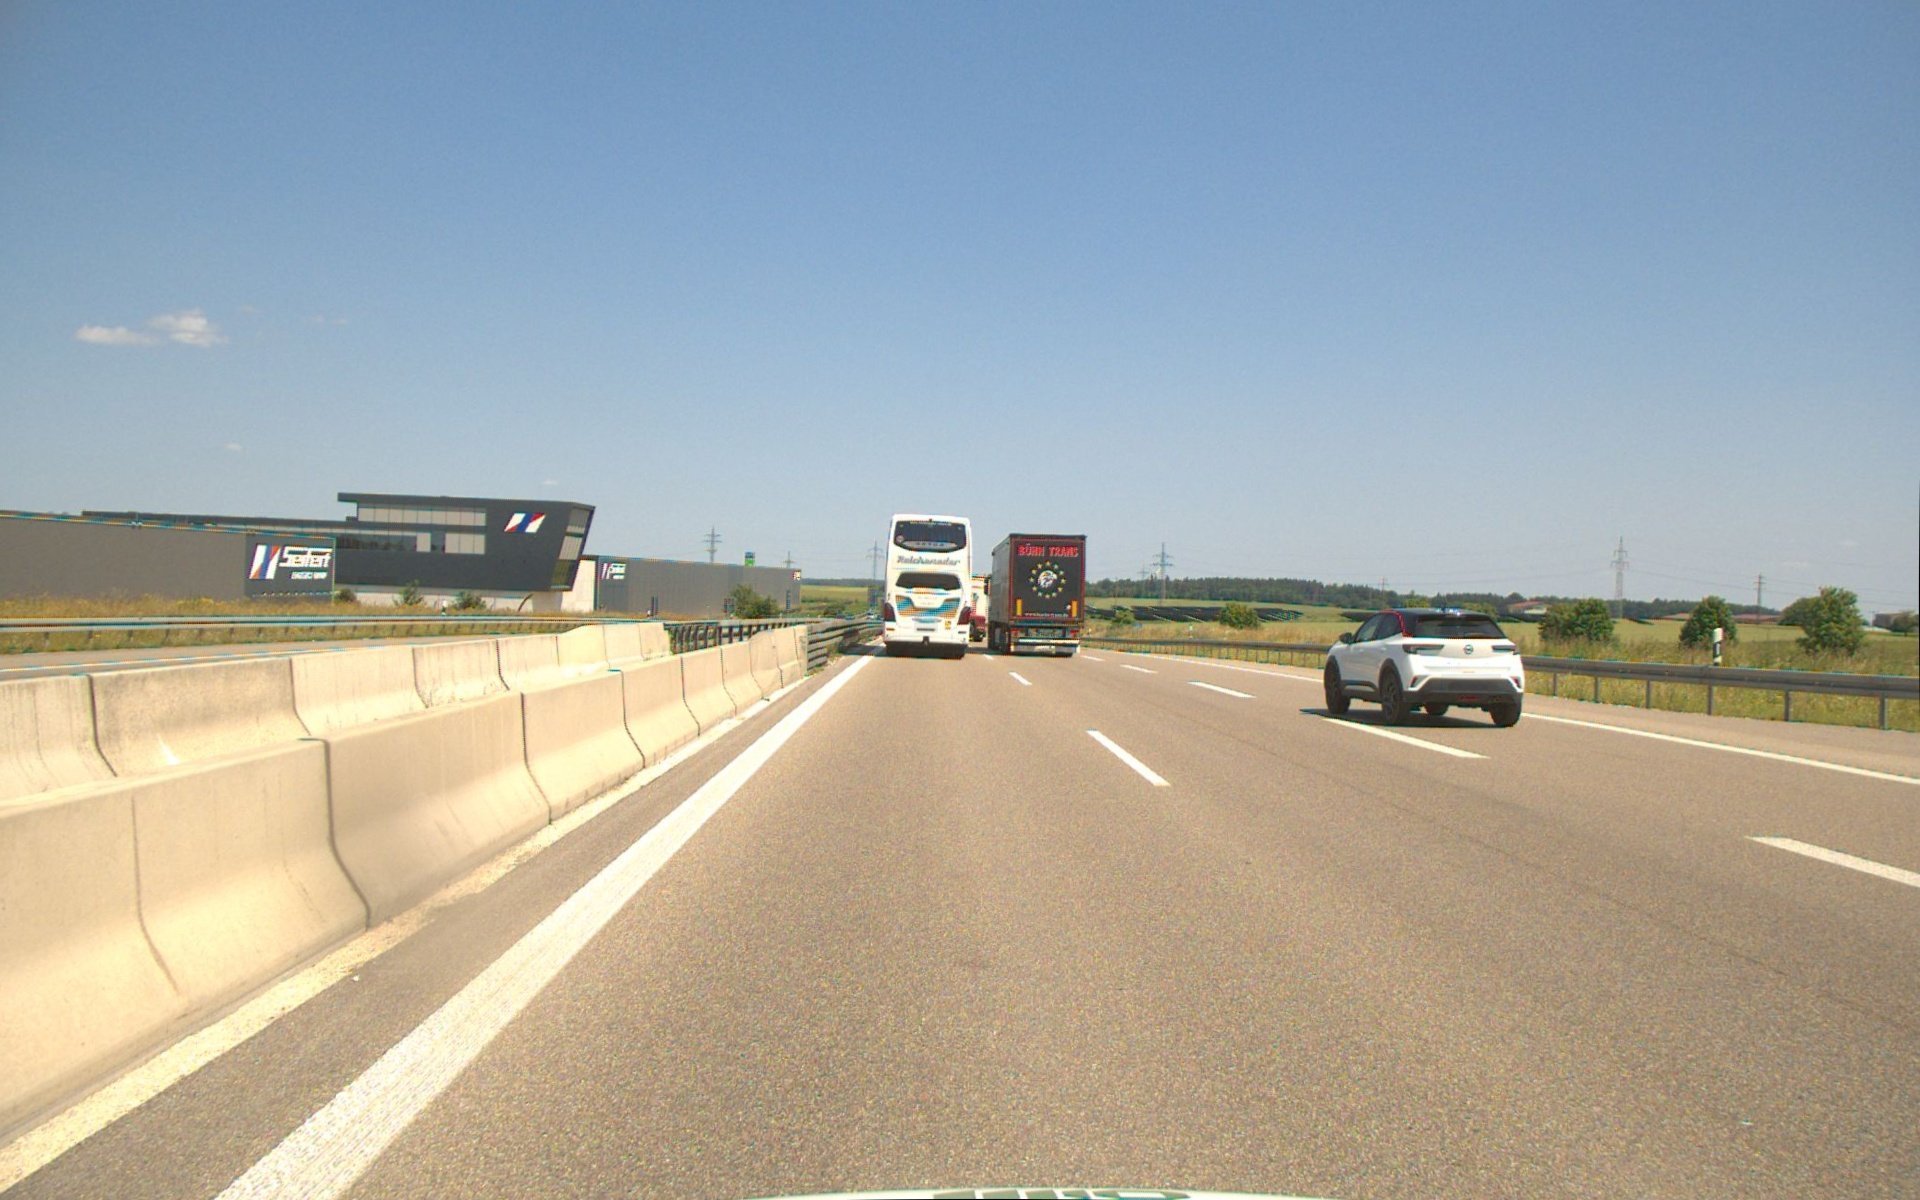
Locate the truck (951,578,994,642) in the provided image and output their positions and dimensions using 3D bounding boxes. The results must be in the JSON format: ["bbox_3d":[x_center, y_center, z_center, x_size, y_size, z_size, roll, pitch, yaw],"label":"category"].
[{"bbox_3d":[0.740,0.604,104.201,2.388,3.855,6.490,1,0,-2],"label":"truck"}]

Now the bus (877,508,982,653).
[{"bbox_3d":[-1.024,-0.654,51.303,2.920,4.044,9.102,1,1,-2],"label":"bus"}]

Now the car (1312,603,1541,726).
[{"bbox_3d":[6.470,0.835,23.450,1.853,1.556,4.259,1,0,-3],"label":"car"}]

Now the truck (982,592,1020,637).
[{"bbox_3d":[3.264,1.137,133.151,2.530,3.460,8.680,1,0,-2],"label":"truck"}]

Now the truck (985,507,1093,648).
[{"bbox_3d":[2.685,-0.576,60.838,3.310,4.542,13.565,1,-1,0],"label":"truck"}]
